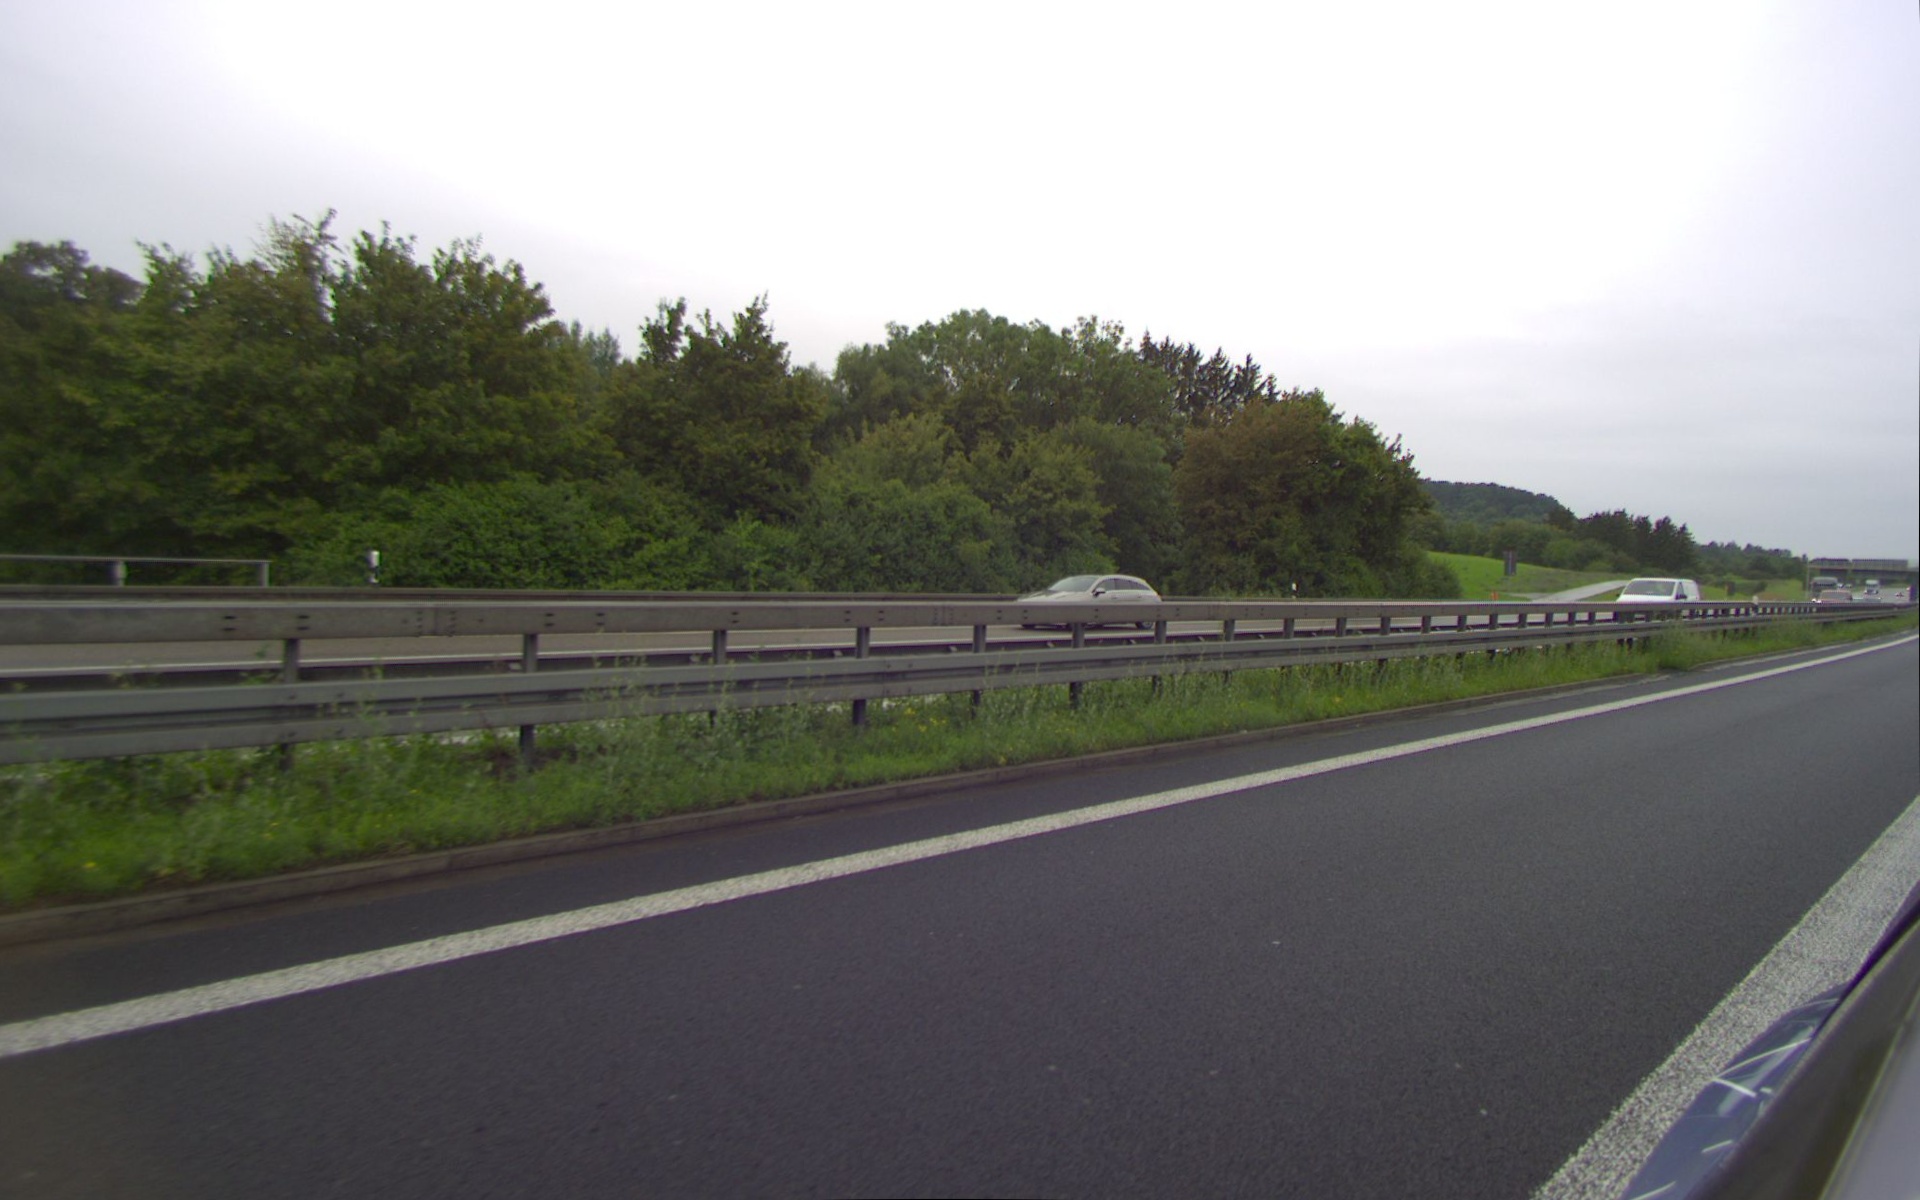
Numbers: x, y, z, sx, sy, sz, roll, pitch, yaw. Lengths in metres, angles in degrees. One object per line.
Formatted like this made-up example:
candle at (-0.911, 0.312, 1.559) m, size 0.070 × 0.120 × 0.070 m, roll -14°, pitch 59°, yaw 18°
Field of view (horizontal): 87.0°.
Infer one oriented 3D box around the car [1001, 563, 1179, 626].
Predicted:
car at (3.394, -0.158, 25.897) m, size 4.626 × 1.473 × 1.903 m, roll 0°, pitch 2°, yaw -40°

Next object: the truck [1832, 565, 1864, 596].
truck at (115.479, -2.547, 131.542) m, size 2.791 × 3.949 × 9.872 m, roll 1°, pitch 2°, yaw 43°

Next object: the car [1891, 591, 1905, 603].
car at (158.124, -0.489, 170.583) m, size 1.747 × 2.039 × 4.429 m, roll 2°, pitch 2°, yaw 43°

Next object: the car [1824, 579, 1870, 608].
car at (65.929, -0.515, 75.234) m, size 4.993 × 2.039 × 2.126 m, roll -1°, pitch 2°, yaw -44°

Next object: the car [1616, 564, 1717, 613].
car at (26.114, -0.439, 37.348) m, size 4.635 × 1.714 × 1.913 m, roll 0°, pitch 2°, yaw -40°
